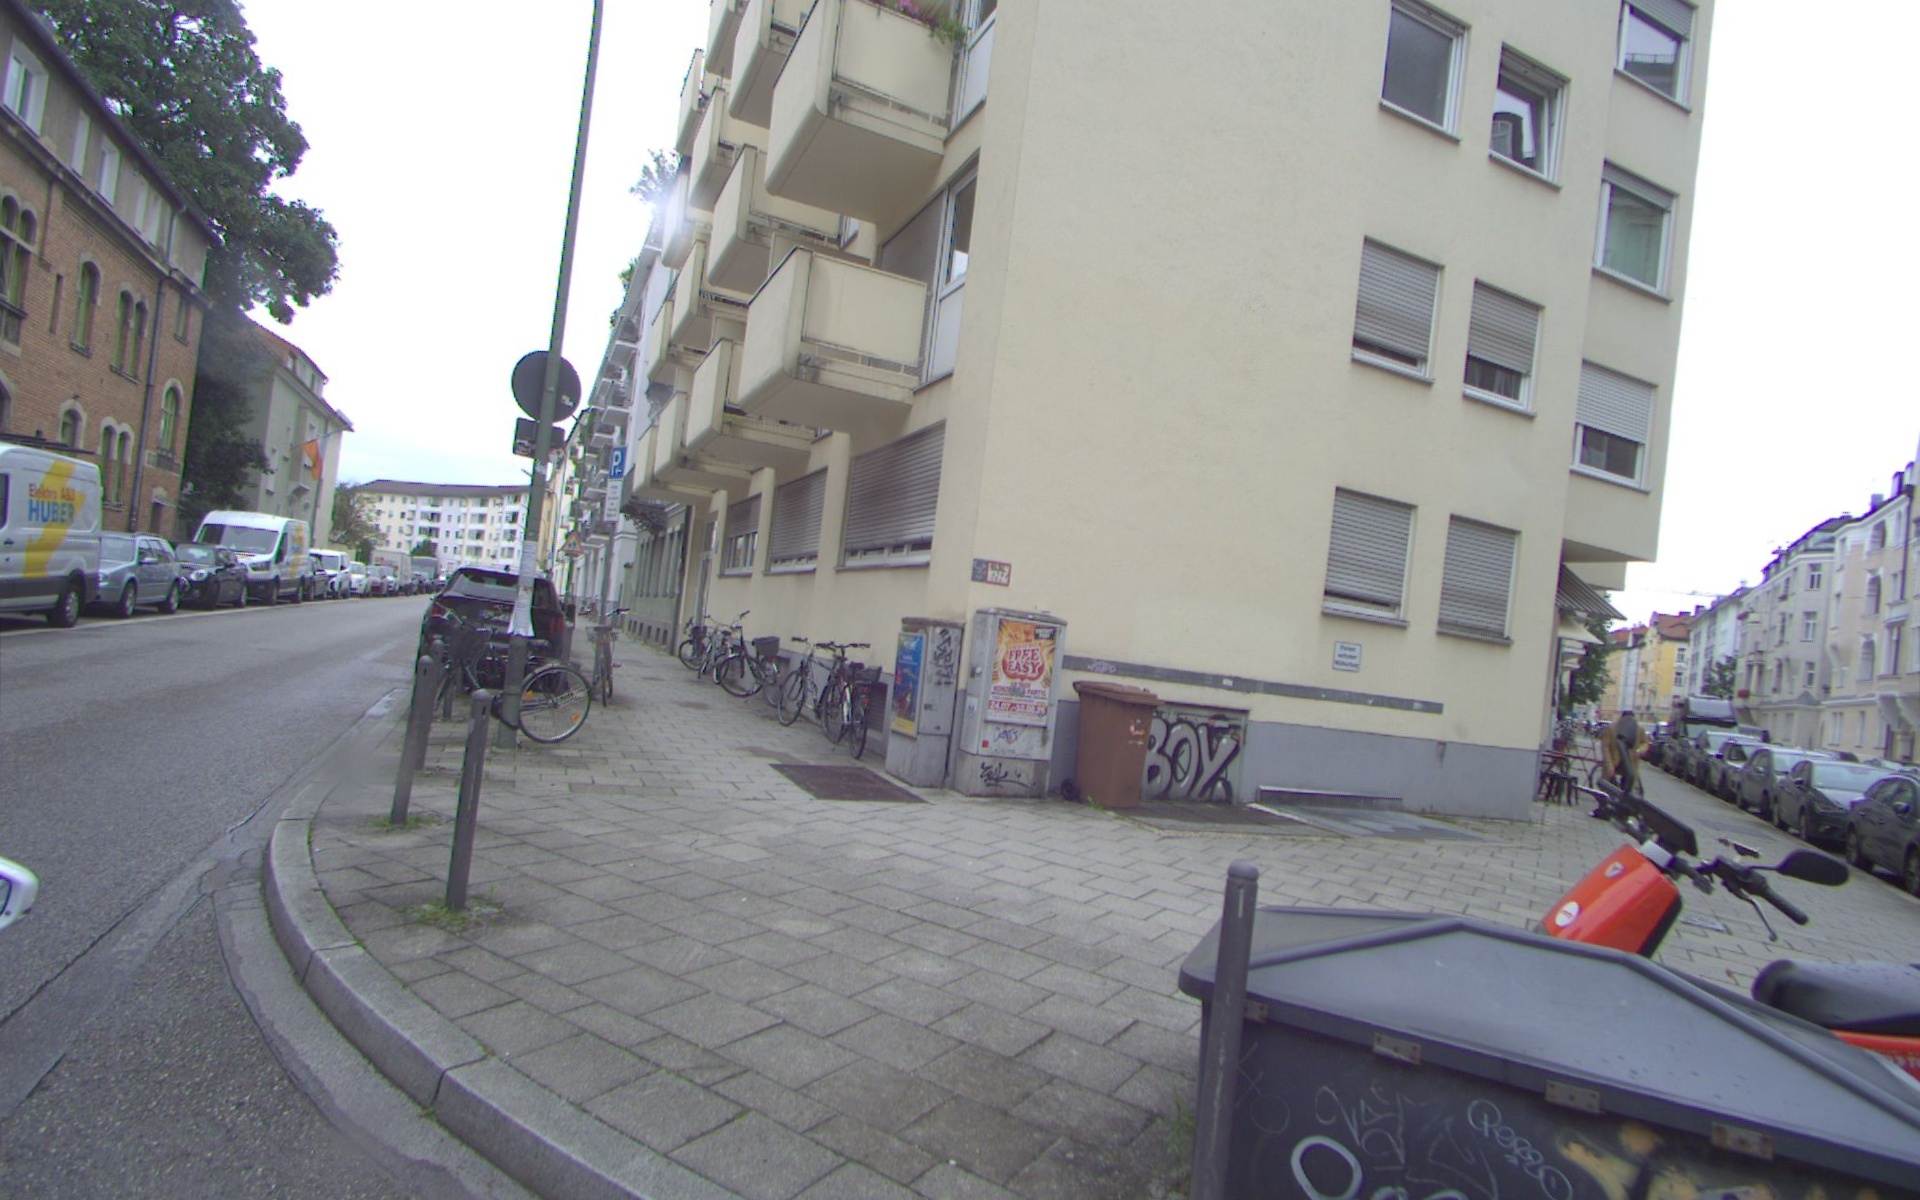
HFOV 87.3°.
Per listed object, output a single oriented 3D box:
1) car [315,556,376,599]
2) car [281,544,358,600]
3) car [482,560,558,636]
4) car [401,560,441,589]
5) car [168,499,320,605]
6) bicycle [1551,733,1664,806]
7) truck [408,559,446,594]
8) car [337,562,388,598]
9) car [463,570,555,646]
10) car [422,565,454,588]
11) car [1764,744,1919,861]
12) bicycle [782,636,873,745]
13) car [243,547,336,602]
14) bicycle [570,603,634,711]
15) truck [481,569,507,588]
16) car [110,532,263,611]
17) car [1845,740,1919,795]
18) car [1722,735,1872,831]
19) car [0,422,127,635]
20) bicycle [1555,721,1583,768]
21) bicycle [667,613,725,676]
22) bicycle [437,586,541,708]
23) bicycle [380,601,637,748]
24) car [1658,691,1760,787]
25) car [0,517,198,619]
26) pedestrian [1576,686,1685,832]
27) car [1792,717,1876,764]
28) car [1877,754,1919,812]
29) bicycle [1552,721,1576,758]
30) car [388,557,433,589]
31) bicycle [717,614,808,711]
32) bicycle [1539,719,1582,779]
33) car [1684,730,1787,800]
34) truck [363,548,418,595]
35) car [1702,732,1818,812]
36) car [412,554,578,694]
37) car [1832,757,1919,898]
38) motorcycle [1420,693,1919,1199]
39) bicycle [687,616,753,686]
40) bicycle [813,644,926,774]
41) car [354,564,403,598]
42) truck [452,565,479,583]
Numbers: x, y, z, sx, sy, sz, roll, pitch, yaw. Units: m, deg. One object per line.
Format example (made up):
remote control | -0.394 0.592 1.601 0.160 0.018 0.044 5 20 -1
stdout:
car | -26.224 -0.943 43.029 1.831 1.558 3.974 7 -2 -28
car | -23.489 -0.990 37.036 1.804 1.731 3.976 7 -2 -26
car | -13.773 -0.067 31.416 1.852 1.990 4.790 7 -2 -25
car | -38.559 -1.806 72.085 1.974 1.783 4.360 7 -2 -23
car | -19.356 -1.205 27.519 2.116 2.377 5.343 7 -2 -24
bicycle | 11.689 3.058 18.160 1.776 1.044 0.749 8 0 -23
truck | -41.298 -1.800 78.041 1.974 2.346 5.383 7 -2 -23
car | -28.086 -0.934 47.409 1.736 1.384 3.974 7 -2 -28
car | -11.574 0.173 25.810 1.842 1.569 4.727 7 -2 -25
car | -45.972 -2.026 88.636 1.974 1.783 4.360 7 -2 -23
car | 15.507 3.438 17.532 1.611 1.488 3.851 5 -2 29
bicycle | -1.569 1.008 11.679 0.573 1.066 1.756 7 -2 -20
car | -21.505 -0.781 32.420 1.728 1.461 3.978 7 -2 -24
bicycle | -4.419 0.660 12.420 0.573 1.167 1.955 6 -2 -20
truck | -68.176 -3.151 147.089 2.215 2.328 5.236 7 -1 -38
car | -17.201 -0.603 22.579 1.681 1.448 3.811 6 -2 -23
car | 33.519 6.014 35.983 1.777 1.590 3.811 6 -2 28
car | 18.298 3.934 22.167 1.611 1.554 3.853 6 -2 27
car | -12.684 -0.929 12.528 1.972 2.498 5.443 5 -1 -24
bicycle | 16.857 3.989 27.852 0.475 1.164 1.786 6 -2 29
bicycle | -5.148 0.842 19.533 0.575 1.066 1.750 7 -2 -29
bicycle | -5.302 0.490 11.253 0.576 1.167 1.944 7 -2 -36
bicycle | -3.791 0.657 8.550 0.766 1.078 1.754 5 -2 43
car | 27.758 5.027 37.505 2.224 2.995 6.121 5 -2 31
car | -15.161 -0.527 17.819 1.671 1.472 3.976 5 -1 -24
pedestrian | 9.562 2.232 14.398 0.728 1.868 1.018 10 -1 13
car | 38.884 6.204 44.864 1.925 1.678 4.611 5 -2 31
car | 30.492 5.813 31.255 1.811 1.531 4.604 5 -2 29
bicycle | 21.387 4.924 35.637 0.475 1.164 1.786 9 0 29
car | -36.010 -1.744 66.042 1.974 1.783 4.360 7 -2 -23
bicycle | -2.908 0.886 14.679 0.682 1.220 1.750 7 -2 -30
bicycle | 13.874 3.412 23.270 0.555 1.207 1.676 9 0 26
car | 24.231 5.107 31.610 1.968 1.708 4.667 4 -3 32
truck | -33.172 -1.605 58.714 1.974 2.346 5.383 7 -2 -23
car | 20.975 4.445 26.515 1.611 1.610 3.965 6 -2 29
car | -7.045 0.315 15.362 1.832 1.658 4.526 7 -2 -24
car | 12.831 2.969 12.746 1.669 1.488 4.606 5 -2 29
motorcycle | 2.620 1.107 2.942 2.045 1.372 0.818 7 -1 9
bicycle | -4.243 0.879 17.720 0.575 1.066 1.825 7 -2 -29
bicycle | -0.940 1.034 10.015 0.573 1.066 1.755 7 -2 -20
car | -30.542 -0.988 52.916 1.779 1.486 3.845 7 -2 -25
truck | -81.075 -4.237 164.781 2.611 2.327 5.382 9 -2 -39
